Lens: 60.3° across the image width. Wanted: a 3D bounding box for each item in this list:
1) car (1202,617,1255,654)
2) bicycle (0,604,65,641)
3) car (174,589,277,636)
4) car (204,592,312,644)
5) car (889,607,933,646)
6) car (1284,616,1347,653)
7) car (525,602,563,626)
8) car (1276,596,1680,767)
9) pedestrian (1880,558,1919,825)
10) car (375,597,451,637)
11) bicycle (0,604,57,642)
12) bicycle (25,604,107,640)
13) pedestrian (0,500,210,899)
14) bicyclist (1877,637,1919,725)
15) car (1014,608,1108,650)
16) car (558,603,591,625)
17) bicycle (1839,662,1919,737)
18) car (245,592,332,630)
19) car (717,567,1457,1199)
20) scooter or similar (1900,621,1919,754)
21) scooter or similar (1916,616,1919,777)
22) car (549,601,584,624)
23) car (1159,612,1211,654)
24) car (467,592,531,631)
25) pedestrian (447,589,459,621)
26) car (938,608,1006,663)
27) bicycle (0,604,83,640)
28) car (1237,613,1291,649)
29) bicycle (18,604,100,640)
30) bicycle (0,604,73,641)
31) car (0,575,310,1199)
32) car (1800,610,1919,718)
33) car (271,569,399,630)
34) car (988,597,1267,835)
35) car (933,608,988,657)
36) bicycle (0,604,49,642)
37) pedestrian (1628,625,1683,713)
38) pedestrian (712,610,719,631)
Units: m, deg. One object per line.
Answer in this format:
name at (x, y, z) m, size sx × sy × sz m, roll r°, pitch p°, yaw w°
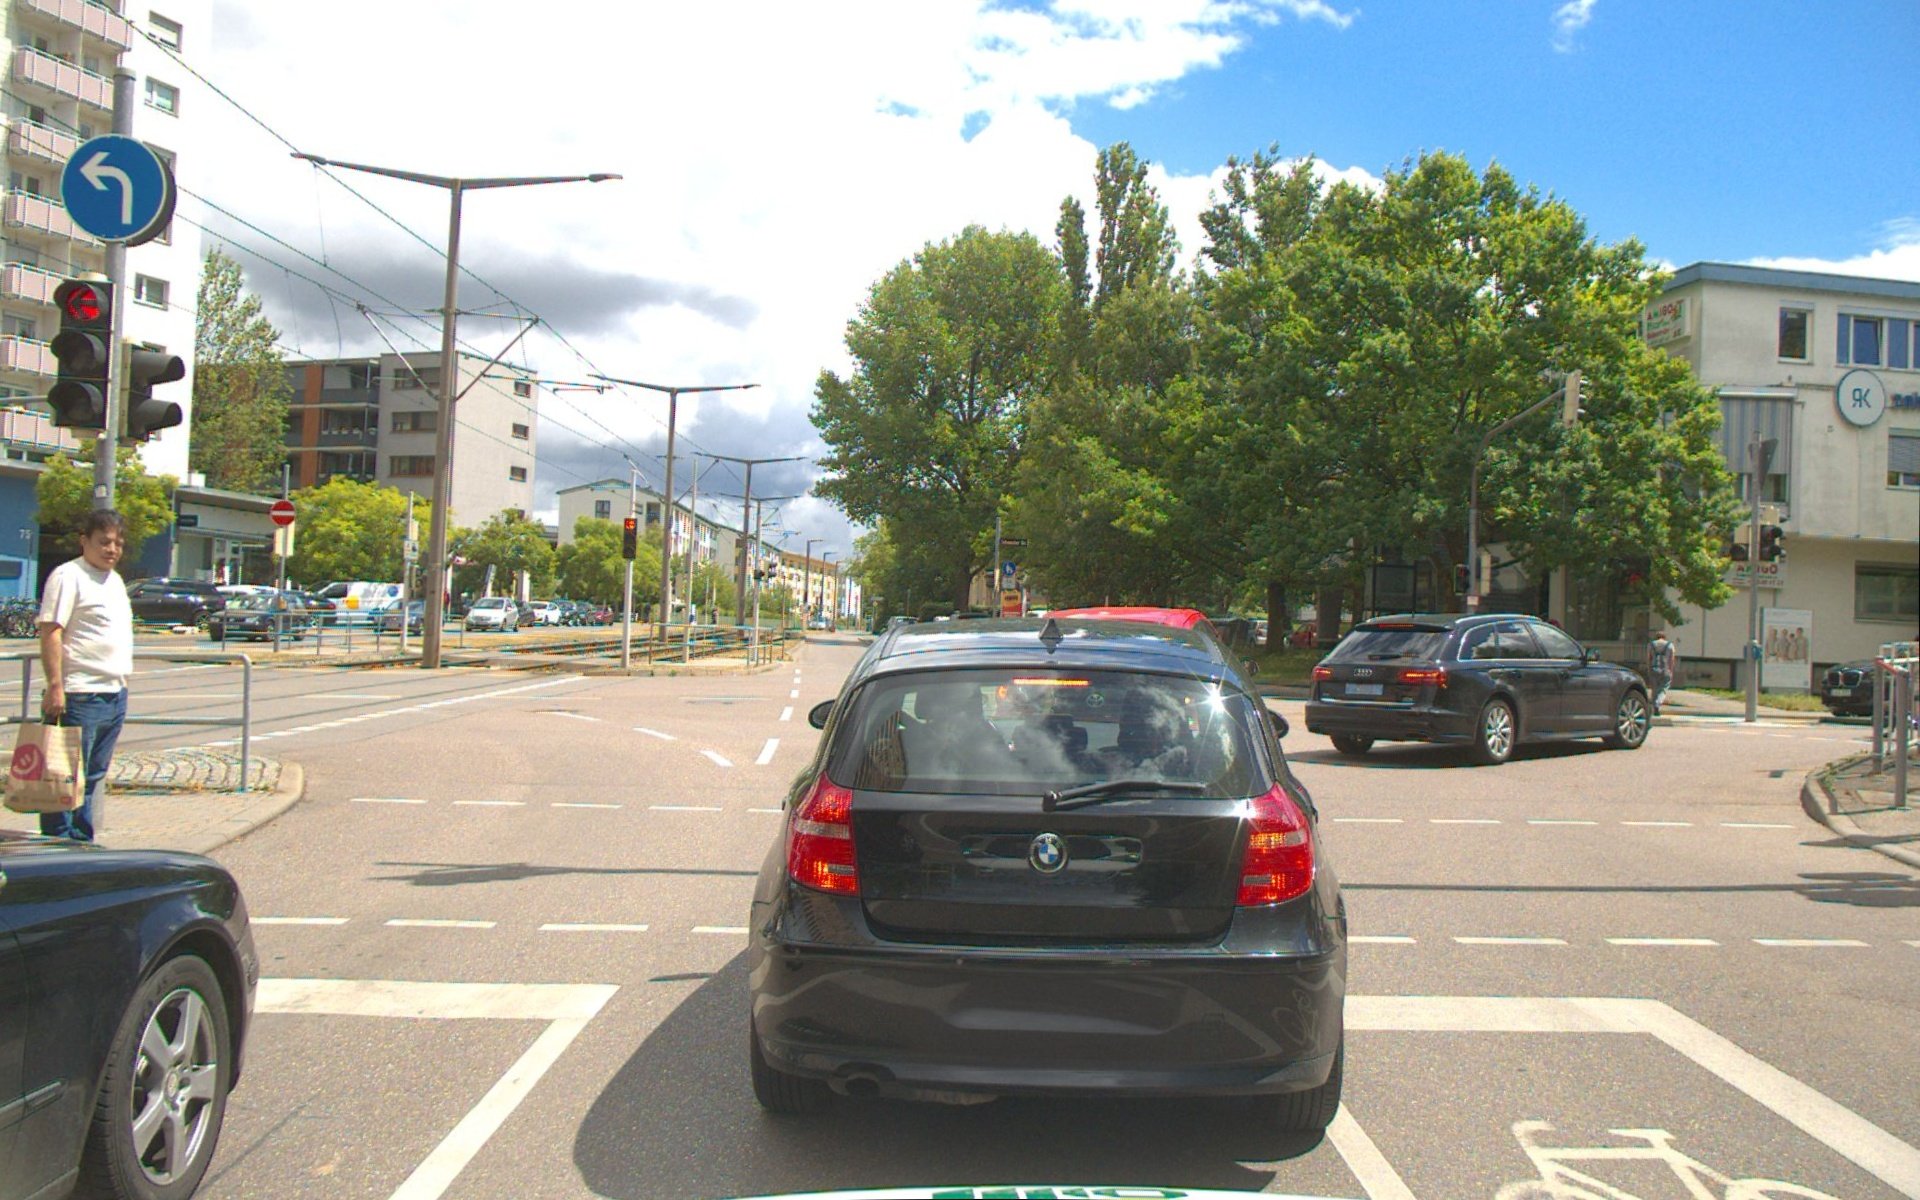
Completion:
car at (12.579, 1.661, 77.723) m, size 1.598 × 1.600 × 4.029 m, roll 1°, pitch 0°, yaw -4°
bicycle at (-24.764, 0.594, 43.704) m, size 1.909 × 0.951 × 0.494 m, roll 1°, pitch -1°, yaw -7°
car at (-26.747, 0.454, 60.170) m, size 4.144 × 1.597 × 1.949 m, roll 1°, pitch 0°, yaw 43°
car at (-21.256, 0.524, 50.236) m, size 1.596 × 1.438 × 4.252 m, roll 1°, pitch 1°, yaw -2°
car at (-2.254, 1.215, 77.003) m, size 1.953 × 1.713 × 3.999 m, roll 1°, pitch 0°, yaw -1°
car at (17.069, 1.647, 79.601) m, size 1.698 × 1.623 × 3.993 m, roll 1°, pitch 0°, yaw -8°
car at (-25.274, 0.839, 100.615) m, size 1.728 × 1.419 × 3.994 m, roll 1°, pitch 0°, yaw -7°
car at (5.562, 0.790, 17.506) m, size 4.477 × 1.581 × 1.972 m, roll 1°, pitch -1°, yaw -39°
pedestrian at (6.682, 0.587, 10.856) m, size 0.932 × 1.703 × 0.871 m, roll 0°, pitch 0°, yaw 14°
car at (-20.907, 0.638, 63.373) m, size 1.602 × 1.424 × 4.491 m, roll 2°, pitch -1°, yaw -3°
bicycle at (-24.718, 0.593, 43.199) m, size 1.909 × 0.951 × 0.494 m, roll 1°, pitch -1°, yaw -7°
bicycle at (-24.759, 0.604, 45.828) m, size 1.909 × 0.951 × 0.494 m, roll 1°, pitch -1°, yaw -7°
pedestrian at (-4.250, 0.463, 8.038) m, size 0.851 × 1.839 × 0.741 m, roll 1°, pitch 0°, yaw -5°
bicyclist at (11.854, 0.997, 20.331) m, size 0.776 × 1.040 × 0.635 m, roll 2°, pitch 0°, yaw -5°
car at (4.639, 1.334, 75.770) m, size 3.933 × 1.855 × 1.766 m, roll 1°, pitch 0°, yaw -23°
car at (-26.003, 0.957, 111.748) m, size 1.728 × 1.419 × 3.994 m, roll 1°, pitch 0°, yaw -7°
bicycle at (11.836, 1.235, 20.527) m, size 0.776 × 0.833 × 1.806 m, roll 2°, pitch 0°, yaw -4°
car at (-27.013, 0.428, 66.484) m, size 1.777 × 1.445 × 4.148 m, roll 1°, pitch 0°, yaw -45°
car at (0.281, 0.692, 5.900) m, size 1.717 × 1.513 × 3.999 m, roll 1°, pitch 0°, yaw -1°
scooter or similar at (9.206, 0.820, 14.937) m, size 1.338 × 1.176 × 0.539 m, roll 3°, pitch 0°, yaw -26°
scooter or similar at (8.396, 0.798, 13.119) m, size 1.315 × 1.299 × 0.462 m, roll 1°, pitch 1°, yaw 6°
car at (-25.457, 0.775, 107.191) m, size 1.728 × 1.419 × 3.994 m, roll 1°, pitch 0°, yaw -7°
car at (10.416, 1.494, 76.886) m, size 1.598 × 1.842 × 4.029 m, roll 1°, pitch 0°, yaw -4°
car at (-21.366, 0.542, 76.848) m, size 1.897 × 1.722 × 3.872 m, roll 1°, pitch 0°, yaw -1°
pedestrian at (-28.294, 0.280, 92.302) m, size 0.537 × 1.746 × 0.404 m, roll 1°, pitch 0°, yaw -11°
car at (0.370, 1.153, 54.202) m, size 2.108 × 1.713 × 3.999 m, roll 1°, pitch -1°, yaw -1°
bicycle at (-24.833, 0.598, 44.732) m, size 1.909 × 0.951 × 0.494 m, roll 1°, pitch -1°, yaw -7°
car at (14.506, 1.466, 79.190) m, size 1.598 × 1.623 × 3.997 m, roll 1°, pitch 0°, yaw -4°
bicycle at (-24.698, 0.603, 45.351) m, size 1.909 × 0.951 × 0.494 m, roll 1°, pitch -1°, yaw -7°
bicycle at (-24.822, 0.595, 44.186) m, size 1.909 × 0.951 × 0.494 m, roll 1°, pitch -1°, yaw -7°
car at (-2.599, 0.679, 2.184) m, size 1.693 × 1.487 × 4.543 m, roll 1°, pitch 0°, yaw -1°
car at (17.167, 1.107, 28.480) m, size 4.472 × 1.747 × 1.997 m, roll 1°, pitch 0°, yaw -8°
car at (-27.091, -0.045, 71.549) m, size 2.810 × 2.522 × 6.614 m, roll 1°, pitch 0°, yaw -44°
car at (1.352, 0.738, 12.204) m, size 1.509 × 1.466 × 3.198 m, roll 1°, pitch 0°, yaw 15°
car at (-0.017, 1.210, 61.644) m, size 1.953 × 1.713 × 3.999 m, roll 1°, pitch -1°, yaw -1°
bicycle at (-24.651, 0.591, 42.699) m, size 1.909 × 0.951 × 0.494 m, roll 1°, pitch -1°, yaw -7°
pedestrian at (13.693, 1.347, 32.579) m, size 0.752 × 1.672 × 0.908 m, roll 1°, pitch 0°, yaw 6°
pedestrian at (-19.038, 1.602, 128.719) m, size 0.469 × 1.665 × 0.454 m, roll 1°, pitch 0°, yaw -2°
